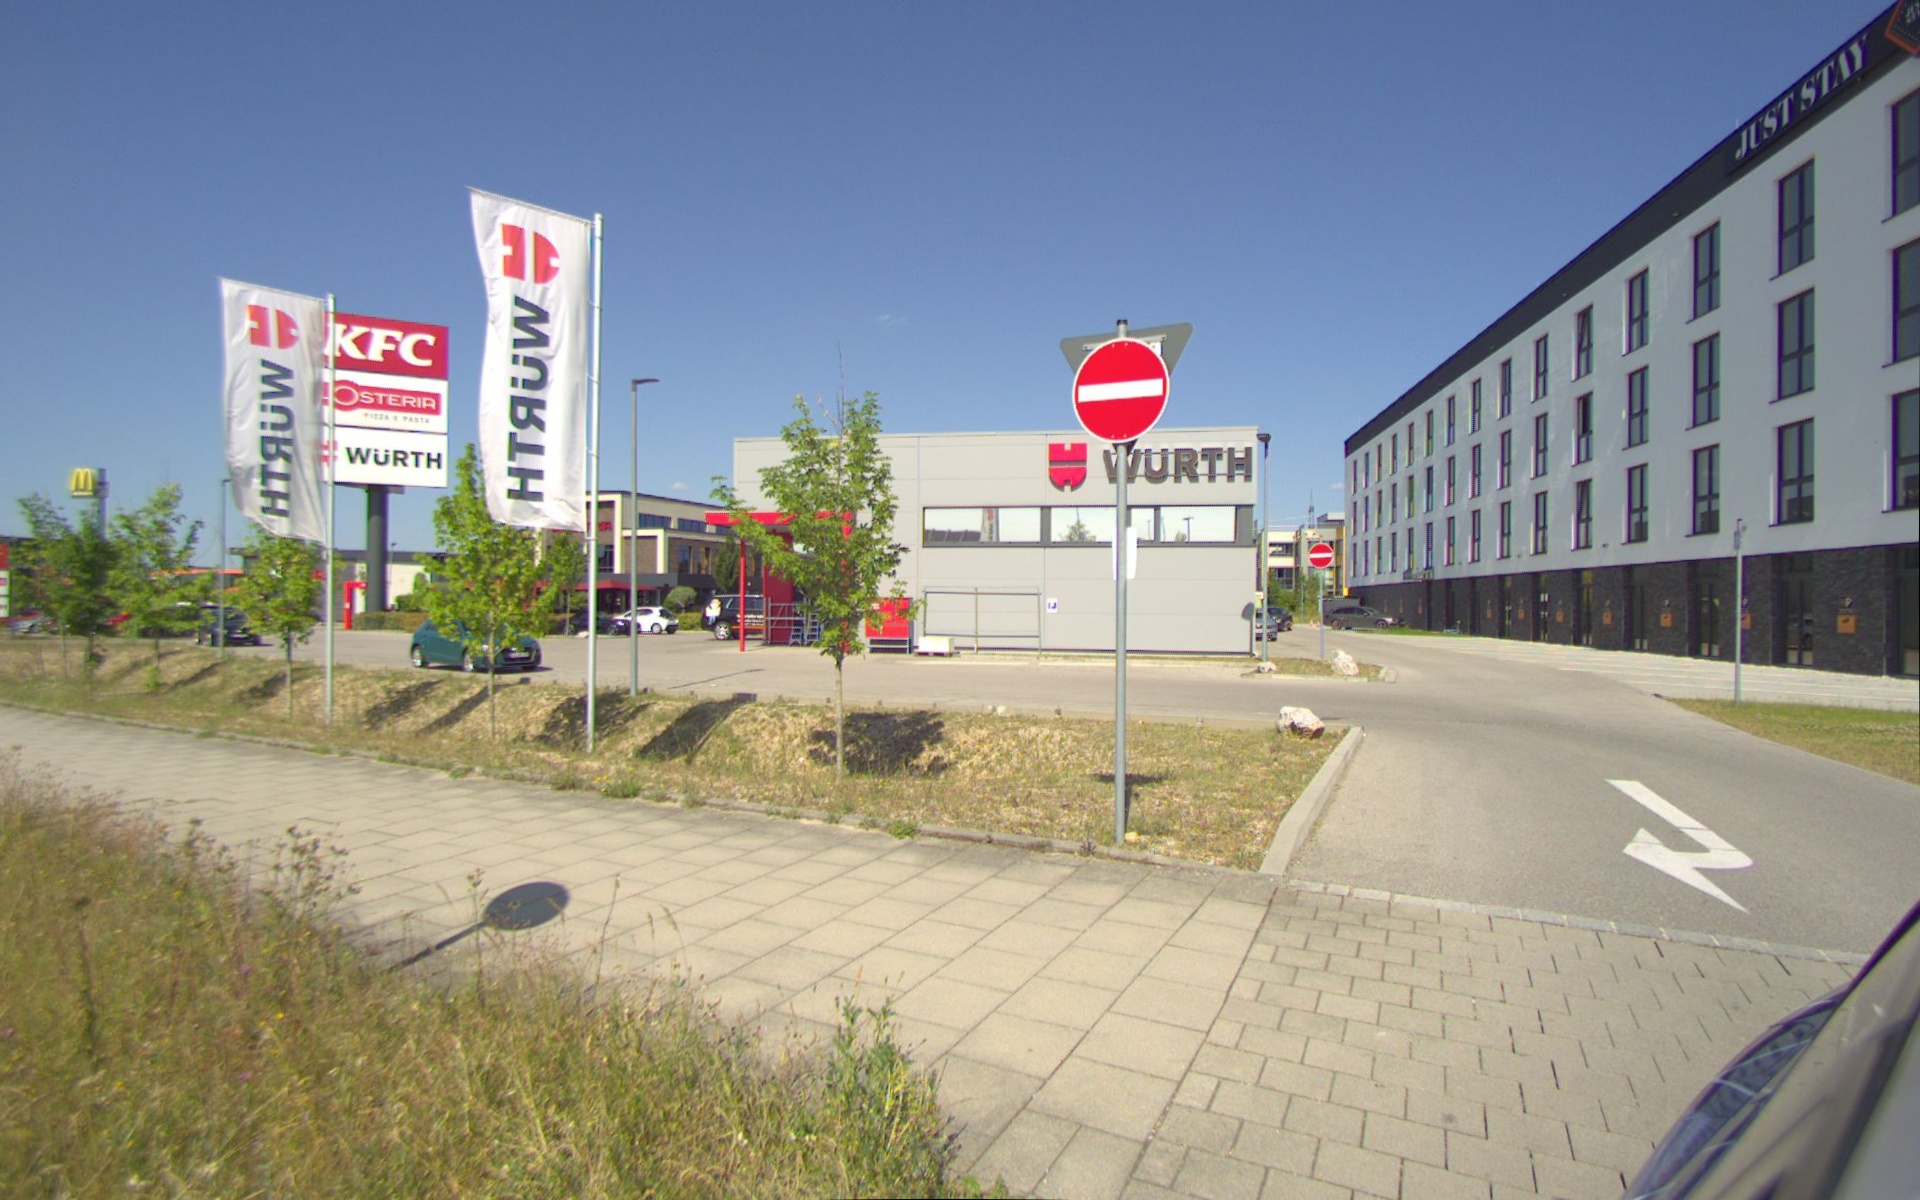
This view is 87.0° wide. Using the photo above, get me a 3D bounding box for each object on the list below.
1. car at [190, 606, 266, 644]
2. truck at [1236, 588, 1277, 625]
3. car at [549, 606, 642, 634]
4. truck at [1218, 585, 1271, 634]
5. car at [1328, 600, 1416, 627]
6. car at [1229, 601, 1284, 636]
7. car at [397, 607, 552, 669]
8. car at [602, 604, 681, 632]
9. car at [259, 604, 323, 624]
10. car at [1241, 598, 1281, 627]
[{"bbox_3d":[-30.503,1.017,42.135,4.349,1.484,1.849,0,-1,44],"label":"car"},{"bbox_3d":[19.951,0.417,68.275,1.968,2.407,5.872,0,0,10],"label":"truck"},{"bbox_3d":[-18.452,0.995,51.256,4.087,1.355,1.825,0,0,10],"label":"car"},{"bbox_3d":[14.738,0.457,52.679,2.090,2.407,5.872,0,0,10],"label":"truck"},{"bbox_3d":[24.586,0.786,60.463,1.848,1.527,4.515,0,0,-43],"label":"car"},{"bbox_3d":[13.467,0.831,46.145,1.848,1.527,3.990,0,0,8],"label":"car"},{"bbox_3d":[-12.505,0.924,25.995,4.200,1.468,1.822,0,-1,36],"label":"car"},{"bbox_3d":[-17.617,0.974,56.032,3.857,1.493,1.795,0,-1,15],"label":"car"},{"bbox_3d":[-54.576,1.153,82.579,1.856,1.585,4.067,0,0,21],"label":"car"},{"bbox_3d":[17.560,0.714,59.144,1.690,1.638,3.990,0,0,9],"label":"car"}]
